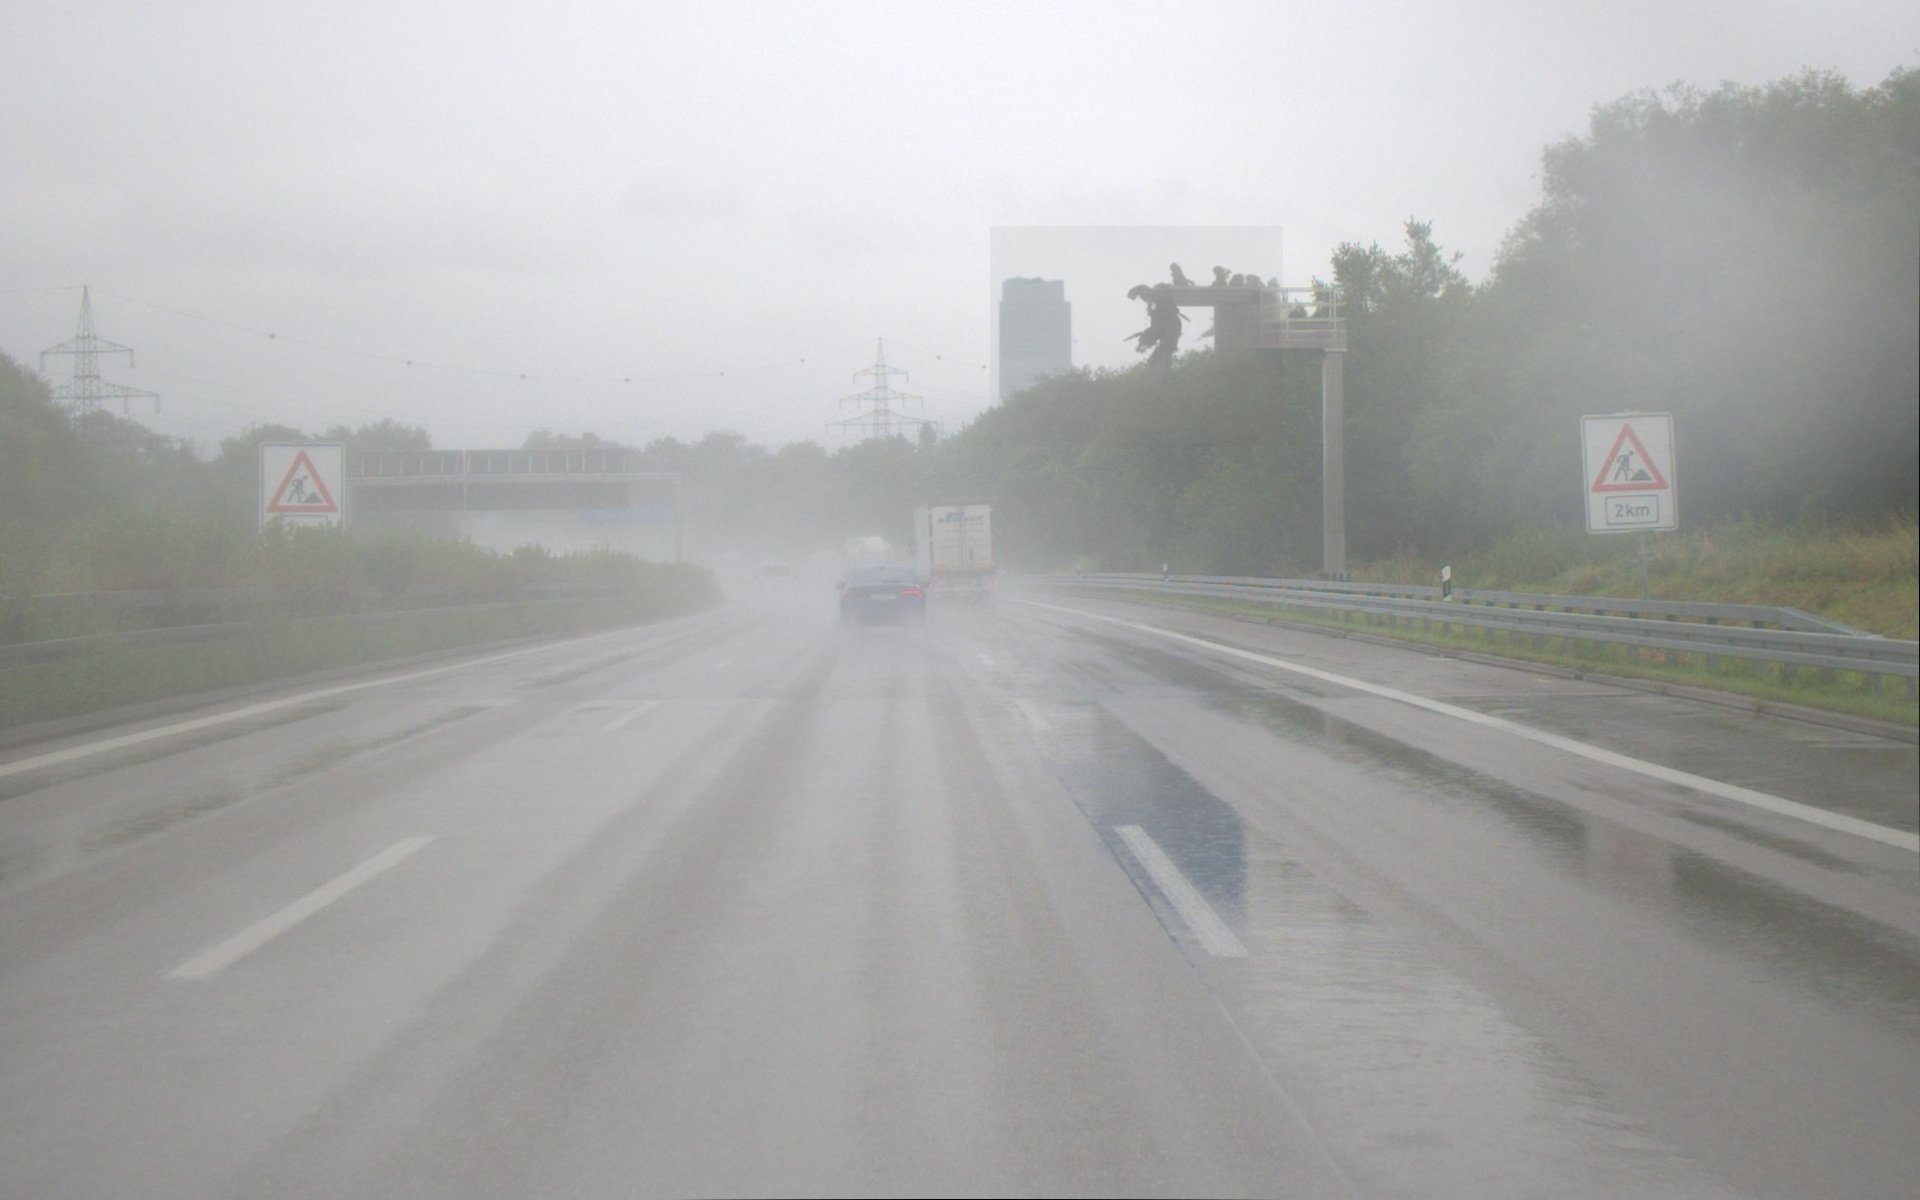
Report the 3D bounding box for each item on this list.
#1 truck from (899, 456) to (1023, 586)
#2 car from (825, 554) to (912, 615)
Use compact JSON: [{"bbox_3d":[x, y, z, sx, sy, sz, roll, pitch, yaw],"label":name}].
[{"bbox_3d":[-0.112,-3.347,145.950,4.256,4.955,17.343,-3,1,-2],"label":"truck"},{"bbox_3d":[-1.909,-0.339,71.642,1.748,1.208,4.000,1,1,-2],"label":"car"}]
